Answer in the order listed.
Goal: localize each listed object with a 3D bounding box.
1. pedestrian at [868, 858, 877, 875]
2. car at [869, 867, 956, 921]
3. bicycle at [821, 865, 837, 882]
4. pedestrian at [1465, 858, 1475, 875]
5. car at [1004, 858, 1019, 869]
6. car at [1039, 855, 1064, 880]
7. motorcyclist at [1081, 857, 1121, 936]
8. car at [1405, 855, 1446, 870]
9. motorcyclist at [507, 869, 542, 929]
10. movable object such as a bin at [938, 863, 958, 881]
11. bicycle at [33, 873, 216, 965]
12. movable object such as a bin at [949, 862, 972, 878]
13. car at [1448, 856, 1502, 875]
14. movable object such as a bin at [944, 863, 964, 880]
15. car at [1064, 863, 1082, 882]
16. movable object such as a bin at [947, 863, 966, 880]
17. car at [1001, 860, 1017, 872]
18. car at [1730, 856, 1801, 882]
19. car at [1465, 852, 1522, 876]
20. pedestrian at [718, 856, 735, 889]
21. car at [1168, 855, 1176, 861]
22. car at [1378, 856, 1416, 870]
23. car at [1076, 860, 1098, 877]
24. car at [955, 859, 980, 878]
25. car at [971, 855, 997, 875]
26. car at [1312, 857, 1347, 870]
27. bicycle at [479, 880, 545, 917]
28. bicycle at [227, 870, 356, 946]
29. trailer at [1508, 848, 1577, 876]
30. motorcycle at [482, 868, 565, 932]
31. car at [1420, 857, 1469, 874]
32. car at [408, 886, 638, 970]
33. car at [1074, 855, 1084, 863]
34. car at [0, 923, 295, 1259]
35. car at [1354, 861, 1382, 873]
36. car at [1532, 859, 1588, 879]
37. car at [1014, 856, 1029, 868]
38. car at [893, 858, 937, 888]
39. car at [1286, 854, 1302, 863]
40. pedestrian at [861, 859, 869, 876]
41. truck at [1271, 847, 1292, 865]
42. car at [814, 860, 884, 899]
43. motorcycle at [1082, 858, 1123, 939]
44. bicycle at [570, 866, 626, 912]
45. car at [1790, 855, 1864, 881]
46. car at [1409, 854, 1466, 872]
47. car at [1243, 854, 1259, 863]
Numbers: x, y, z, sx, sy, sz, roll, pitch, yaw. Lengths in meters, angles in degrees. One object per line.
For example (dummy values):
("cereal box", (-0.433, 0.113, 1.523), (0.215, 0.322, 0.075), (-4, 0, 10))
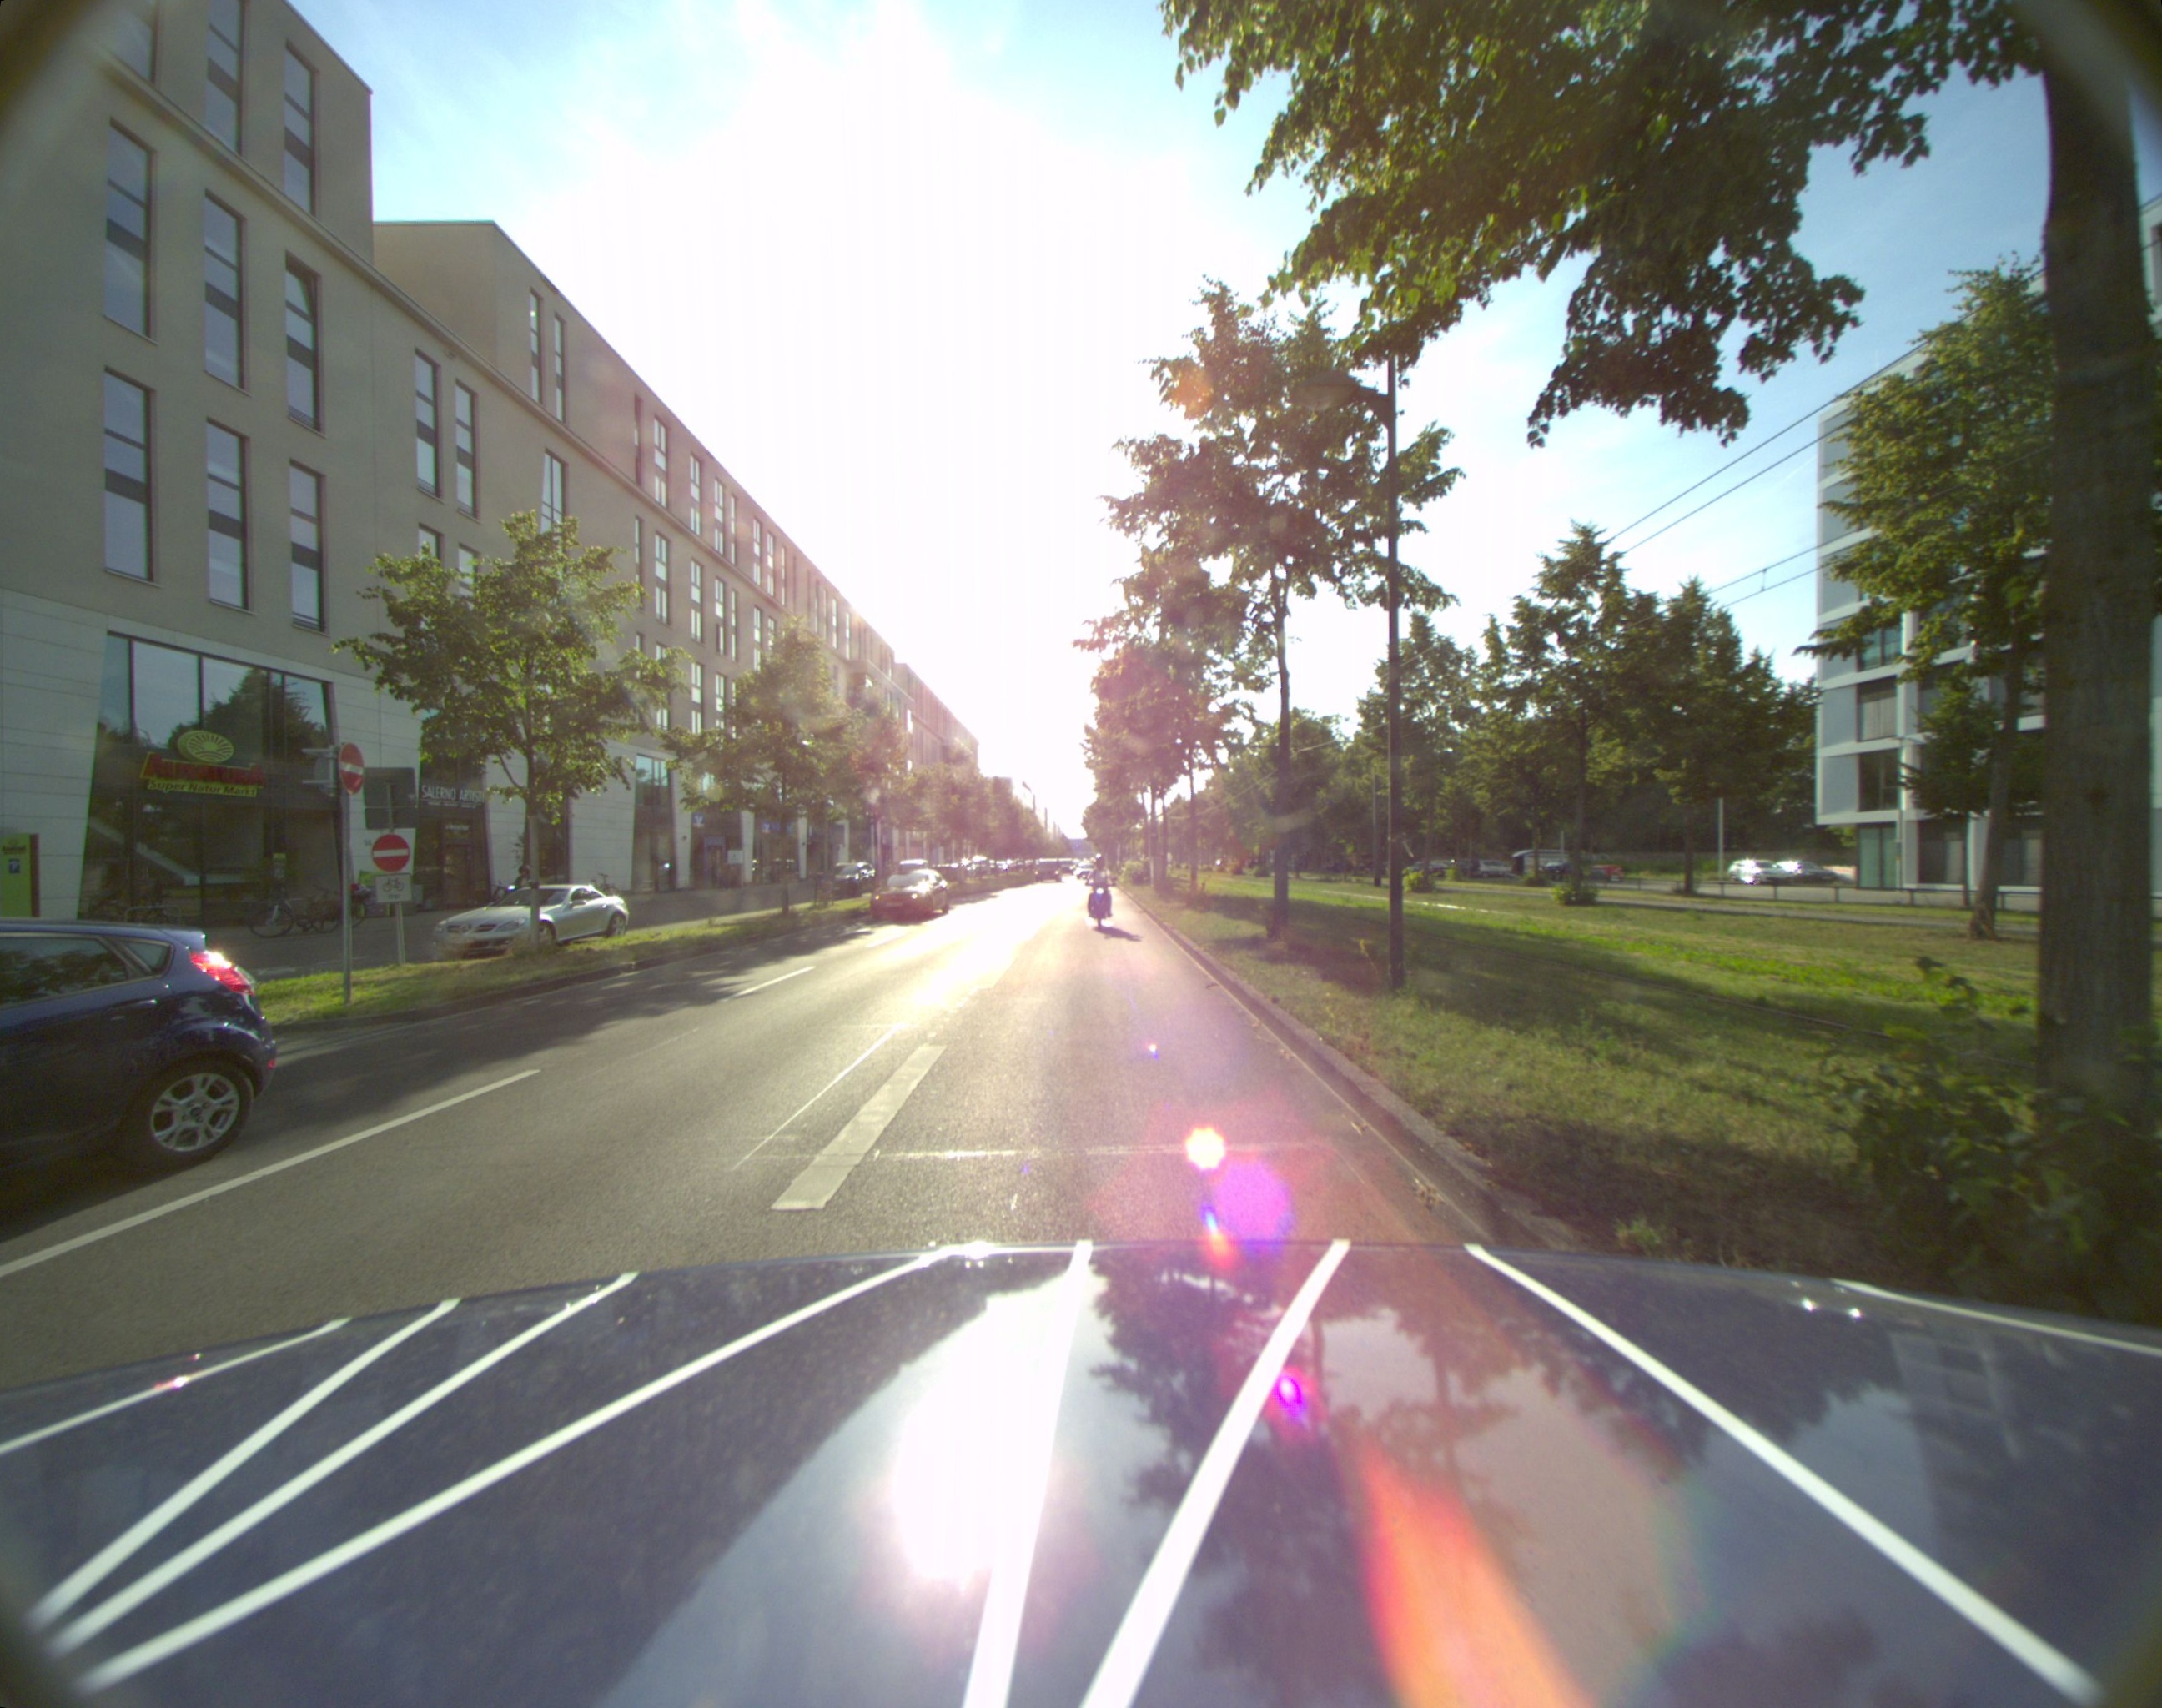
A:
("pedestrian", (-19.251, 1.157, 70.075), (0.514, 1.565, 0.541), (-2, 1, 34))
("car", (-5.304, 1.227, 24.370), (1.698, 1.416, 4.039), (-2, 1, 2))
("bicycle", (-17.648, 1.384, 53.235), (0.493, 1.109, 1.945), (0, 1, 1))
("pedestrian", (34.560, 1.118, 67.551), (0.523, 1.472, 0.568), (-2, 1, 0))
("car", (-9.895, 1.303, 109.099), (1.733, 1.424, 4.113), (-2, 1, 0))
("car", (-2.412, 1.101, 63.475), (1.803, 1.880, 4.821), (-2, 1, 1))
("motorcyclist", (0.448, 0.951, 17.364), (0.814, 1.699, 0.843), (-2, 1, 0))
("car", (37.526, 0.926, 82.791), (3.655, 1.420, 1.810), (-2, 1, 3))
("motorcyclist", (-15.230, 1.223, 20.800), (0.625, 1.631, 0.418), (1, 1, 0))
("movable object such as a bin", (-10.058, 1.324, 57.468), (1.281, 1.284, 1.178), (-2, 1, -2))
("bicycle", (-18.526, 1.199, 14.824), (0.557, 1.562, 2.276), (-2, 1, 2))
("movable object such as a bin", (-10.183, 1.327, 64.256), (1.399, 1.229, 1.338), (-2, 1, 28))
("car", (36.446, 1.054, 70.342), (4.002, 1.633, 1.758), (-2, 1, 1))
("movable object such as a bin", (-9.809, 1.316, 58.734), (1.281, 1.229, 1.191), (-2, 1, -2))
("car", (-0.930, 2.131, 89.312), (1.909, 2.002, 4.000), (-2, 1, 1))
("movable object such as a bin", (-9.812, 1.369, 60.095), (1.281, 1.229, 1.191), (-2, 1, -2))
("car", (-8.815, 1.449, 92.853), (1.620, 1.404, 4.167), (-2, 1, -2))
("car", (46.966, 0.973, 52.264), (1.851, 1.586, 4.003), (-2, 1, 12))
("car", (36.427, 0.850, 67.103), (4.002, 1.936, 1.758), (-2, 1, 1))
("pedestrian", (-19.412, 1.026, 41.586), (0.538, 1.752, 0.646), (-2, 1, 1))
("car", (24.804, 1.167, 206.923), (1.686, 1.467, 4.813), (2, 1, 1))
("car", (37.524, 1.093, 90.271), (3.865, 1.477, 1.744), (-2, 1, 9))
("car", (0.513, 1.330, 70.163), (1.756, 1.427, 4.034), (-2, 1, -2))
("car", (-10.380, 1.312, 69.742), (1.735, 1.620, 4.849), (-1, 0, -2))
("car", (-10.109, 1.133, 79.839), (1.842, 1.865, 5.031), (-2, 1, 2))
("car", (30.850, 1.179, 94.500), (1.689, 1.427, 4.027), (-3, 1, -27))
("bicycle", (-18.131, 1.408, 24.284), (0.635, 1.077, 1.904), (0, 0, 1))
("bicycle", (-18.277, 1.198, 17.678), (0.557, 1.558, 2.212), (-2, 1, 2))
("trailer", (37.259, 0.661, 61.389), (4.374, 2.042, 1.758), (-2, 1, 4))
("motorcycle", (-15.237, 1.218, 20.845), (0.702, 1.608, 2.012), (3, 1, 1))
("car", (37.142, 1.133, 77.692), (3.996, 1.551, 1.856), (-2, 1, 3))
("car", (-11.027, 1.392, 15.420), (1.712, 1.235, 3.905), (-2, 1, 0))
("car", (-0.449, 1.003, 156.200), (1.840, 1.521, 4.328), (-2, 1, 1))
("car", (-5.716, 1.158, 2.780), (1.564, 1.416, 3.907), (-2, 0, 0))
("car", (37.512, 1.665, 99.442), (1.791, 1.434, 4.359), (-2, 1, -5))
("car", (36.190, 1.099, 57.523), (1.684, 1.385, 3.760), (-3, 1, -2))
("car", (-9.913, 1.329, 126.542), (1.899, 1.863, 4.844), (-2, 1, 0))
("car", (-10.540, 1.168, 48.509), (1.832, 1.702, 4.295), (-2, 1, -1))
("car", (39.064, 0.822, 139.278), (1.835, 1.602, 4.475), (-2, 1, 2))
("pedestrian", (-19.934, 1.207, 70.051), (0.515, 1.513, 0.597), (-2, 1, 0))
("truck", (42.540, 0.350, 161.238), (2.895, 3.495, 7.946), (-2, 1, 5))
("car", (-10.921, 1.158, 36.171), (1.902, 1.698, 4.678), (-2, 0, -1))
("motorcycle", (0.462, 0.952, 17.410), (0.798, 1.659, 2.634), (-2, 1, 0))
("bicycle", (-18.182, 1.287, 28.647), (0.557, 1.609, 2.212), (-2, 1, 2))
("car", (49.937, 0.920, 50.961), (1.687, 1.548, 4.003), (-2, 1, 13))
("car", (37.585, 0.936, 80.165), (5.071, 1.725, 1.886), (-2, 1, 3))
("car", (28.871, 0.807, 129.267), (1.835, 1.423, 4.475), (-2, 1, 2))
